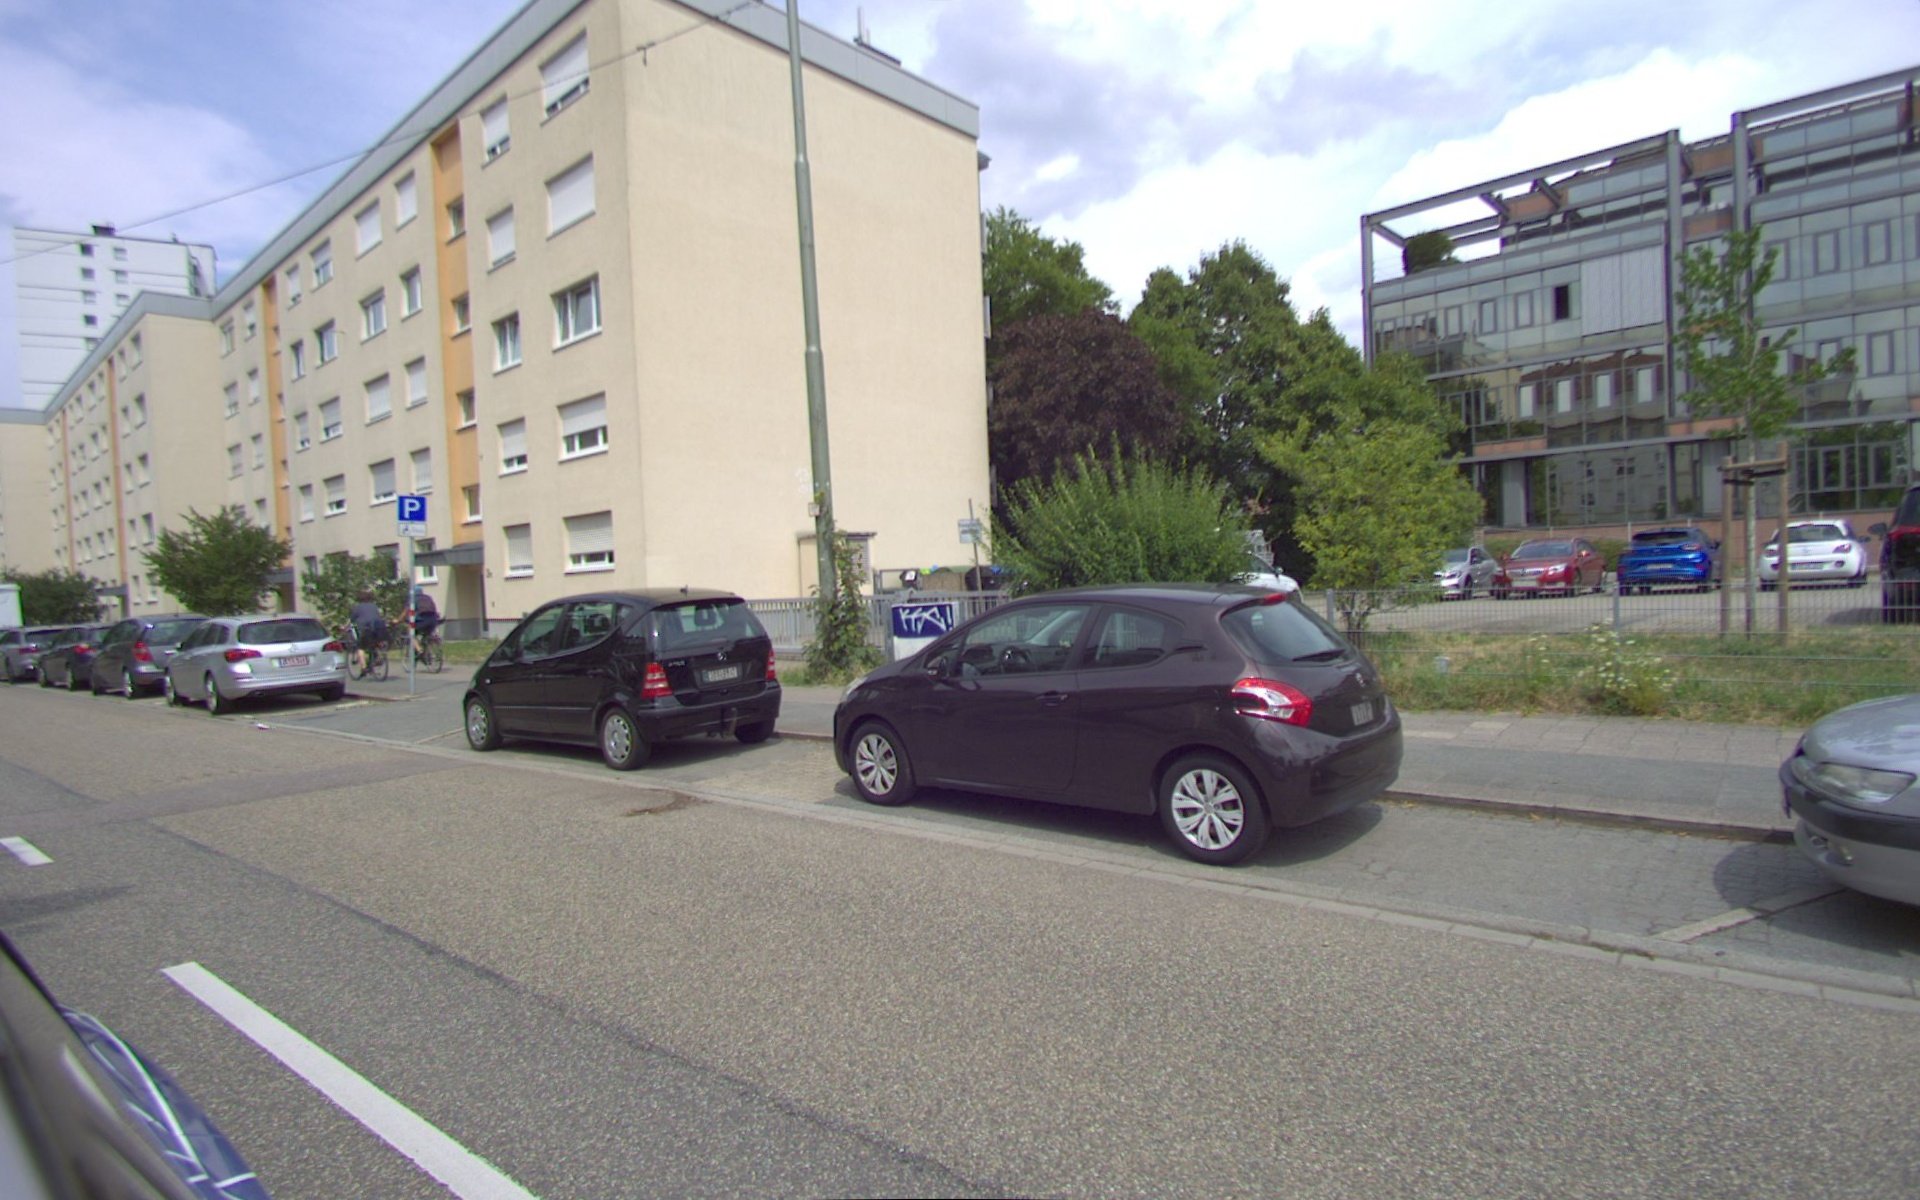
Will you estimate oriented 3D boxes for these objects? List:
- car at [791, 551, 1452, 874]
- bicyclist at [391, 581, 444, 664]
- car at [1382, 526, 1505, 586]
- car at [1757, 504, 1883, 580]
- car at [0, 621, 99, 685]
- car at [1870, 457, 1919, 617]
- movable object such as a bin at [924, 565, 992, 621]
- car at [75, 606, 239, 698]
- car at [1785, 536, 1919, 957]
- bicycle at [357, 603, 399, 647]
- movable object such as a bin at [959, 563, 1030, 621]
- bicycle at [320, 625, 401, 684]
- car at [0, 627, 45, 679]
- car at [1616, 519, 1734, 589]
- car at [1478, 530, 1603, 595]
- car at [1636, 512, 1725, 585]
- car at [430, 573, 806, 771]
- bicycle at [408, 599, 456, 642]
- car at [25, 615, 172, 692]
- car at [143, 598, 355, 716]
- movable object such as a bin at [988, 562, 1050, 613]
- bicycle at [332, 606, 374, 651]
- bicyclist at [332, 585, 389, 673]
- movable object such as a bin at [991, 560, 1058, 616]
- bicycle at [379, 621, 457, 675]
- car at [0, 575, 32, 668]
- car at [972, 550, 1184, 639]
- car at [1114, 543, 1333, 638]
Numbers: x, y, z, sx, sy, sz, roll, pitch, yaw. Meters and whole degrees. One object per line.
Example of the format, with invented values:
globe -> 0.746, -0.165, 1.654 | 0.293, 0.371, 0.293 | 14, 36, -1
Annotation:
car -> 0.841, 0.531, 6.726 | 4.047, 1.481, 1.670 | -1, 2, 42
bicyclist -> -11.011, 0.438, 20.550 | 0.765, 1.619, 0.608 | -1, 3, 39
car -> 13.242, -1.212, 27.614 | 1.982, 1.494, 3.945 | -1, 2, 42
car -> 19.050, -1.271, 22.405 | 1.969, 1.494, 3.945 | -1, 2, 42
car -> -25.217, 1.393, 27.567 | 4.618, 1.518, 1.702 | -1, 1, 37
car -> 12.345, -0.803, 12.050 | 2.001, 1.685, 5.029 | -2, 1, 44
movable object such as a bin -> -0.053, -0.182, 26.640 | 1.301, 1.423, 1.232 | -1, 0, 40
car -> -16.390, 1.002, 20.612 | 3.834, 1.636, 1.701 | -1, 2, 38
car -> 5.237, 0.436, 3.024 | 4.260, 1.468, 1.670 | -2, 1, 40
bicycle -> -17.120, 0.734, 29.746 | 0.526, 1.216, 2.020 | -5, 3, -43
movable object such as a bin -> 0.880, -0.205, 25.717 | 1.301, 1.423, 1.232 | -1, 0, 40
bicycle -> -11.512, 1.018, 19.394 | 2.080, 1.009, 0.617 | -1, 3, 40
car -> -29.740, 1.596, 31.205 | 4.053, 1.495, 1.597 | -1, 0, 38
car -> 17.035, -1.110, 24.031 | 1.857, 1.494, 3.945 | -1, 2, 42
car -> 14.804, -0.984, 25.731 | 1.982, 1.494, 3.945 | -1, 2, 42
car -> 23.640, -1.633, 33.136 | 1.970, 2.152, 4.174 | -1, 0, 41
car -> -3.550, 0.609, 10.179 | 3.994, 1.586, 1.607 | -1, 2, 38
bicycle -> -15.820, 0.607, 30.307 | 2.017, 1.216, 0.527 | -1, 3, 42
car -> -20.134, 1.191, 23.595 | 4.257, 1.515, 1.662 | -1, 3, 37
car -> -11.967, 0.888, 16.912 | 4.548, 1.575, 1.769 | -2, 3, 41
movable object such as a bin -> 1.688, -0.348, 29.082 | 1.301, 1.423, 1.232 | -1, 0, 40
bicycle -> -17.602, 0.801, 29.320 | 0.526, 1.216, 2.020 | -7, 4, -43
bicyclist -> -11.407, 0.541, 19.258 | 0.765, 1.619, 0.608 | -1, 3, 39
movable object such as a bin -> 1.713, -0.312, 26.930 | 1.301, 1.423, 1.232 | -1, 0, 40
bicycle -> -11.078, 0.956, 20.642 | 2.080, 1.009, 0.617 | -1, 3, 40
car -> -34.910, 0.804, 35.420 | 7.107, 3.081, 2.589 | -2, 0, 39
car -> 2.375, -0.163, 19.827 | 3.940, 1.494, 2.002 | -4, 2, -42
car -> 4.833, -0.227, 18.321 | 3.940, 1.494, 2.002 | -4, 2, -42
